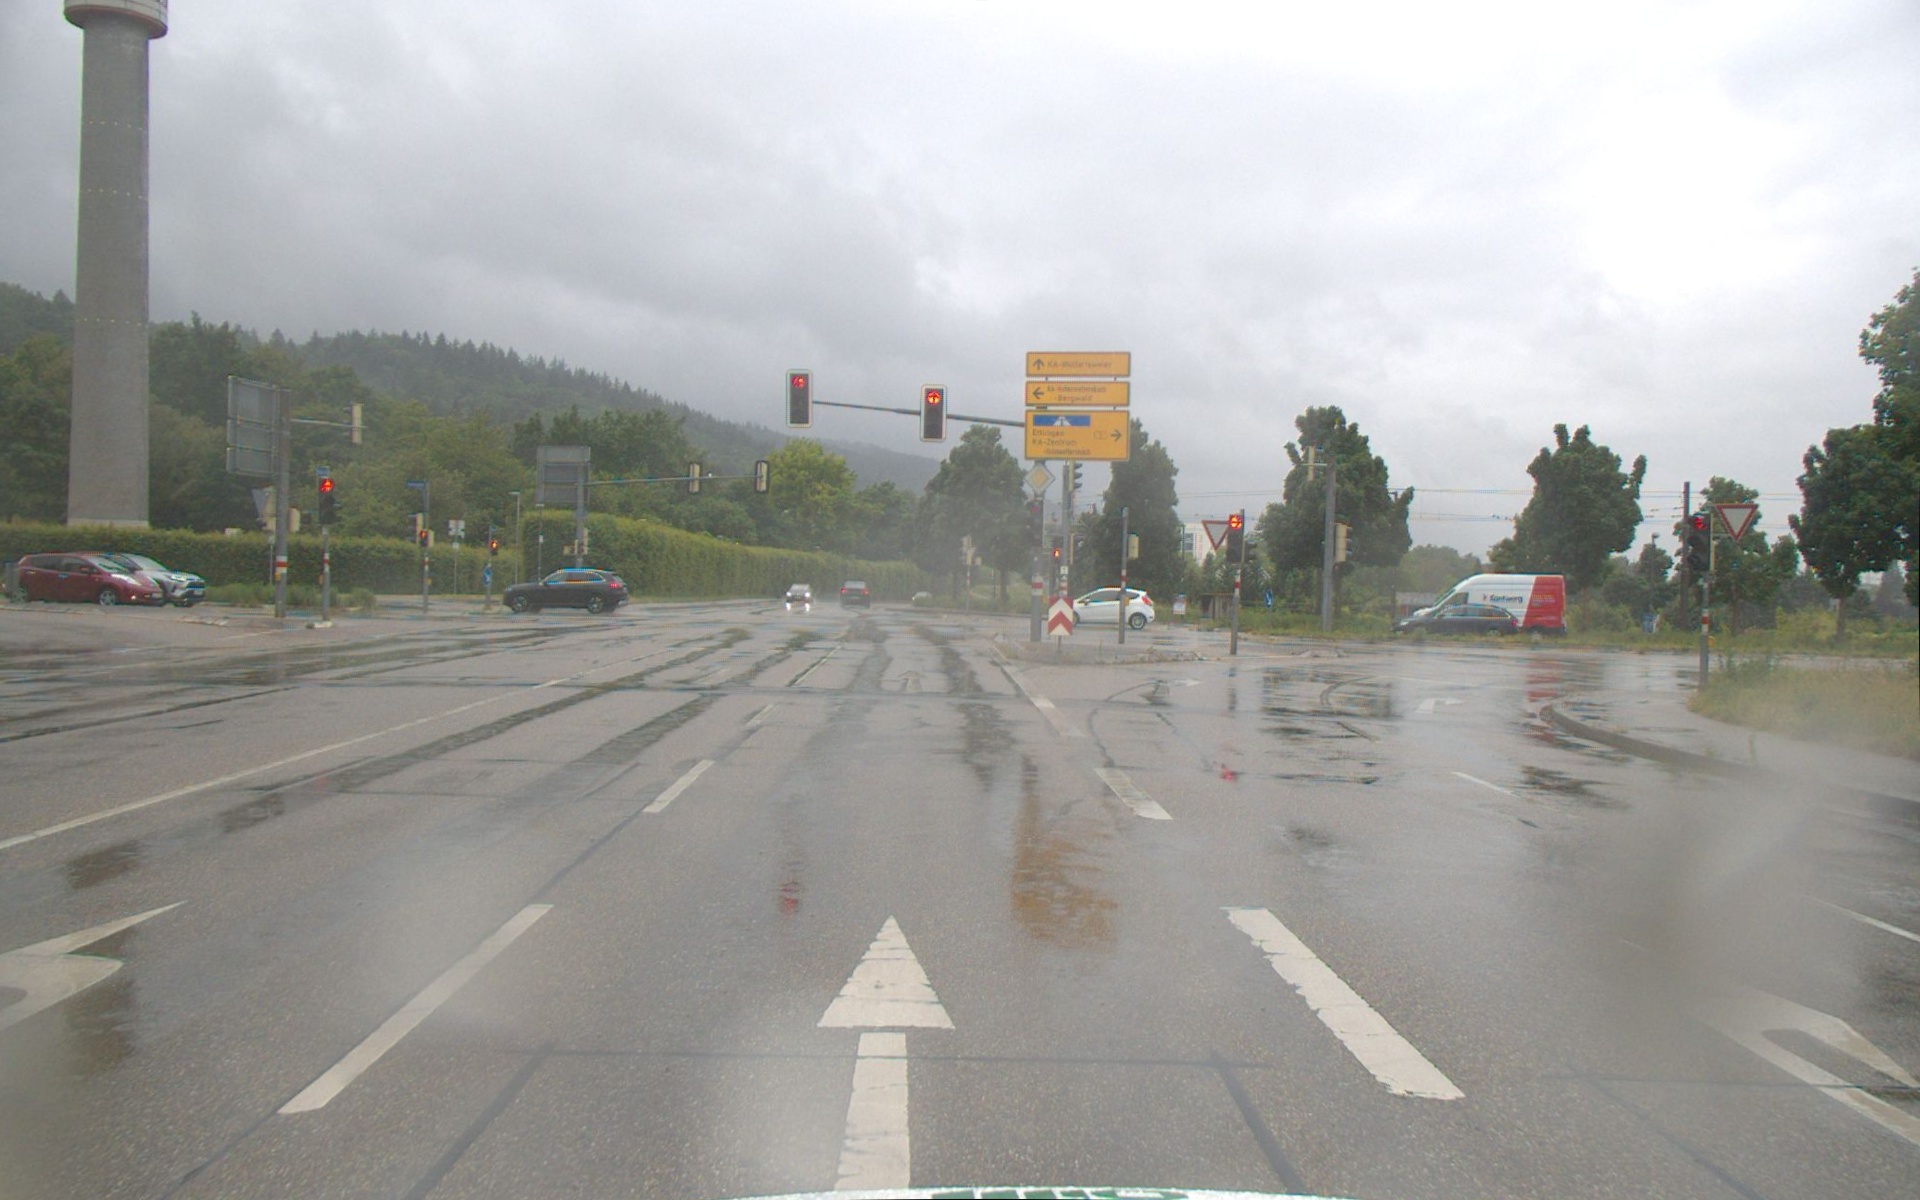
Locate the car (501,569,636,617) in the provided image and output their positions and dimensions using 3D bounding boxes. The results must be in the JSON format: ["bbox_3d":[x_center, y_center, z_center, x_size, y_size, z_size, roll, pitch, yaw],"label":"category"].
[{"bbox_3d":[-14.630,-0.284,61.964,4.573,1.667,1.823,1,1,2],"label":"car"}]

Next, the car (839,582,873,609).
[{"bbox_3d":[-6.357,-0.278,101.821,1.840,1.601,4.644,0,1,-1],"label":"car"}]

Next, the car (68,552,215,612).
[{"bbox_3d":[-25.429,-0.571,51.446,3.721,1.741,1.747,2,1,6],"label":"car"}]

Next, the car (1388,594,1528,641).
[{"bbox_3d":[18.102,0.615,60.299,4.572,1.580,1.823,1,1,3],"label":"car"}]

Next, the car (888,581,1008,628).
[{"bbox_3d":[-0.434,0.169,64.700,4.573,1.580,1.823,3,1,2],"label":"car"}]

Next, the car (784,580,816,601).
[{"bbox_3d":[-12.230,-0.726,126.833,1.840,1.601,4.646,0,1,2],"label":"car"}]

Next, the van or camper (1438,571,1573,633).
[{"bbox_3d":[21.060,0.059,64.047,4.745,2.207,2.162,2,1,13],"label":"van or camper"}]

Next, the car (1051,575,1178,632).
[{"bbox_3d":[5.676,0.108,60.978,4.571,1.949,1.916,1,1,4],"label":"car"}]

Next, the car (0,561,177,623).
[{"bbox_3d":[-25.180,-0.245,47.817,4.283,1.607,1.734,2,1,5],"label":"car"}]
